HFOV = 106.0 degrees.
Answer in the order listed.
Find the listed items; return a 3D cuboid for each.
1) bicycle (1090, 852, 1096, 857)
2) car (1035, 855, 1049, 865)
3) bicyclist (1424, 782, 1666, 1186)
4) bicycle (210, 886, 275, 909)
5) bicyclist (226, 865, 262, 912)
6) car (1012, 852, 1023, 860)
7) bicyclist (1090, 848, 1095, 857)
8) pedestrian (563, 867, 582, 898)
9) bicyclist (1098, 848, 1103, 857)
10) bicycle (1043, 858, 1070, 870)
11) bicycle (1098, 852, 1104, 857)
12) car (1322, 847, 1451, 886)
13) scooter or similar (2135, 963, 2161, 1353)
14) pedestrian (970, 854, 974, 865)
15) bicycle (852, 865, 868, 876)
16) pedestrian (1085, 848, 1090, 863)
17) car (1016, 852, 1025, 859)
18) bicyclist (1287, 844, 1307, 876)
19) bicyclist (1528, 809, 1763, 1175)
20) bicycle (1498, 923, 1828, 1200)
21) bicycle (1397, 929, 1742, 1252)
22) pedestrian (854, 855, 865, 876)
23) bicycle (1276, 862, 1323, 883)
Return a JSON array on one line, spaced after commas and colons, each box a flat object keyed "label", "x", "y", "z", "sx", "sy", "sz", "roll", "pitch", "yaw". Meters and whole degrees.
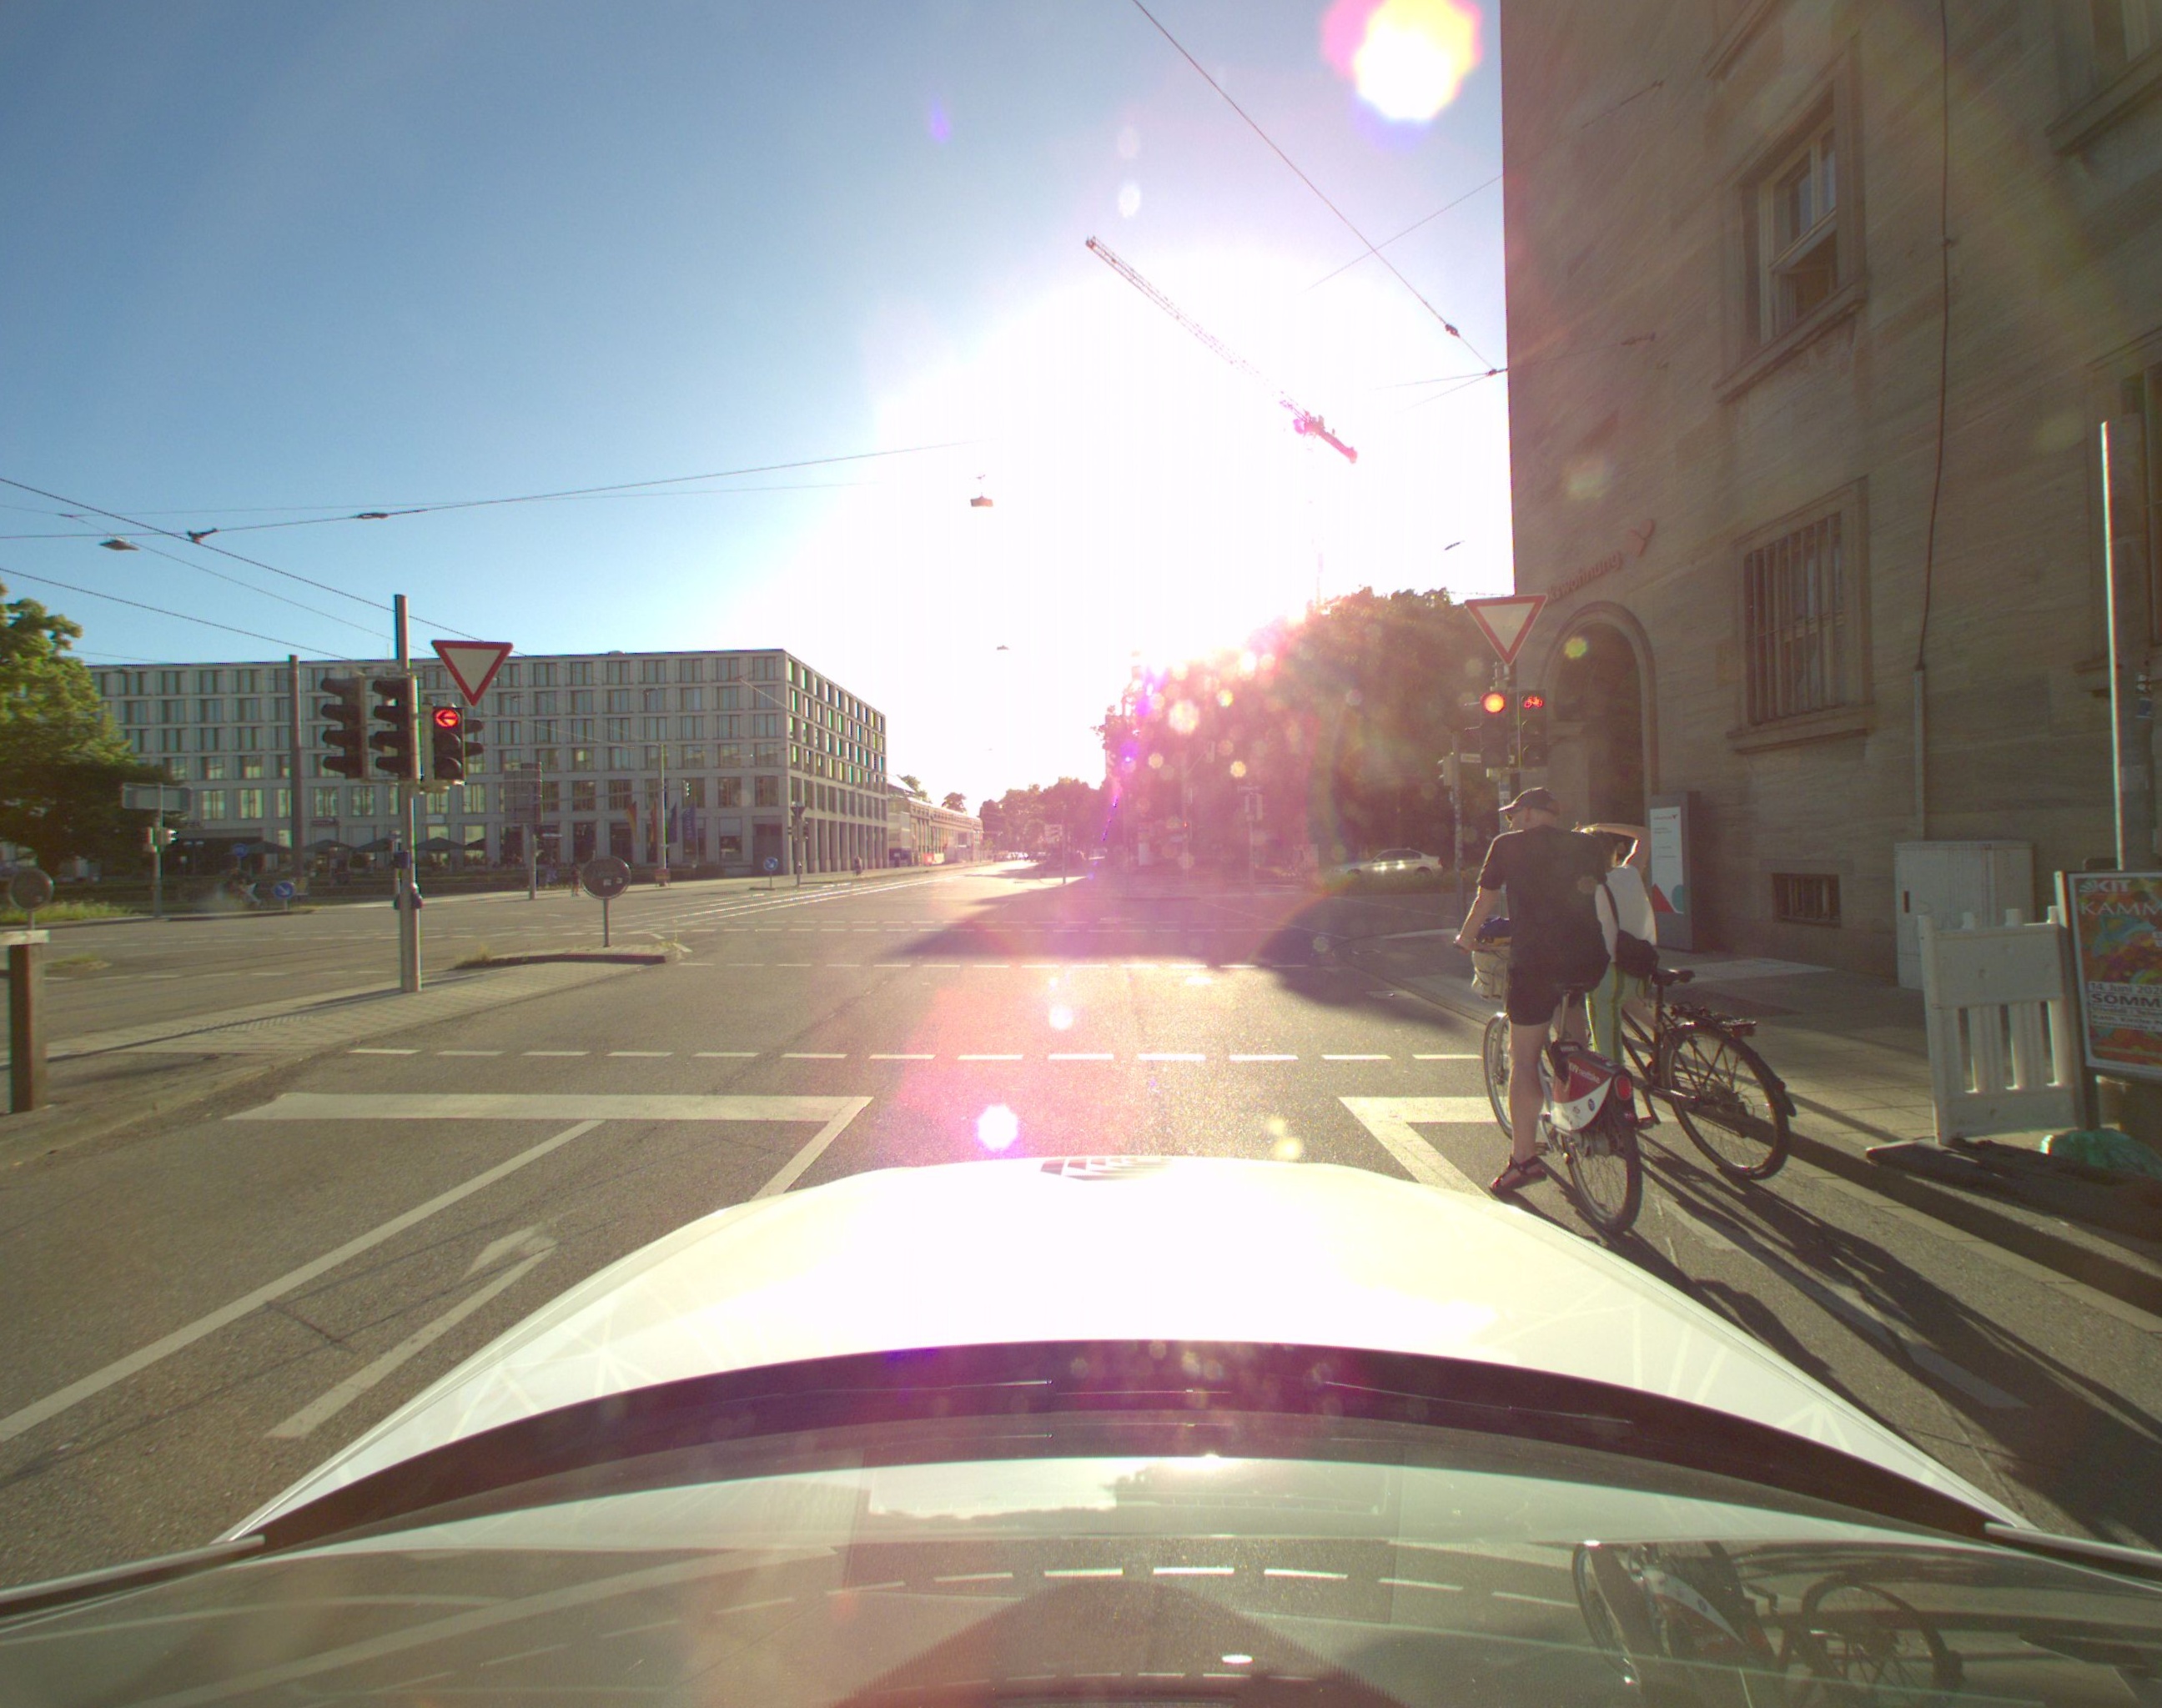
[{"label": "bicycle", "x": 2.538, "y": 0.136, "z": 176.763, "sx": 0.890, "sy": 1.219, "sz": 2.784, "roll": 0, "pitch": -1, "yaw": -9}, {"label": "car", "x": -6.394, "y": 1.004, "z": 134.959, "sx": 1.986, "sy": 1.640, "sz": 4.001, "roll": 0, "pitch": -1, "yaw": 2}, {"label": "bicyclist", "x": 2.185, "y": 0.558, "z": 3.955, "sx": 0.621, "sy": 1.715, "sz": 0.913, "roll": -2, "pitch": 0, "yaw": 1}, {"label": "bicycle", "x": -32.357, "y": 1.661, "z": 31.473, "sx": 0.532, "sy": 0.787, "sz": 1.853, "roll": -2, "pitch": 0, "yaw": 2}, {"label": "bicyclist", "x": -32.367, "y": 1.313, "z": 31.492, "sx": 0.532, "sy": 1.761, "sz": 0.771, "roll": -2, "pitch": 0, "yaw": 2}, {"label": "car", "x": -13.928, "y": 0.406, "z": 178.875, "sx": 1.988, "sy": 1.605, "sz": 3.998, "roll": -2, "pitch": 0, "yaw": -1}, {"label": "bicyclist", "x": 2.547, "y": -0.261, "z": 176.743, "sx": 0.891, "sy": 2.014, "sz": 0.746, "roll": 0, "pitch": -1, "yaw": -10}, {"label": "pedestrian", "x": -28.508, "y": 1.576, "z": 45.644, "sx": 0.600, "sy": 1.681, "sz": 0.608, "roll": -2, "pitch": 0, "yaw": 9}, {"label": "bicyclist", "x": 4.288, "y": -0.268, "z": 177.599, "sx": 0.891, "sy": 2.014, "sz": 0.746, "roll": 0, "pitch": -1, "yaw": -10}, {"label": "bicycle", "x": -2.043, "y": 0.805, "z": 67.437, "sx": 2.240, "sy": 0.940, "sz": 0.653, "roll": -2, "pitch": 0, "yaw": -4}, {"label": "bicycle", "x": 4.298, "y": 0.128, "z": 177.456, "sx": 0.890, "sy": 1.219, "sz": 2.784, "roll": 0, "pitch": -1, "yaw": -9}, {"label": "car", "x": 12.442, "y": 0.503, "z": 33.422, "sx": 4.559, "sy": 1.516, "sz": 2.001, "roll": 0, "pitch": -1, "yaw": 1}, {"label": "scooter or similar", "x": 3.248, "y": 0.918, "z": 1.830, "sx": 0.568, "sy": 1.149, "sz": 1.279, "roll": 0, "pitch": 0, "yaw": 26}, {"label": "pedestrian", "x": -18.754, "y": 1.014, "z": 140.618, "sx": 0.585, "sy": 1.889, "sz": 0.478, "roll": 0, "pitch": -1, "yaw": 2}, {"label": "bicycle", "x": -16.883, "y": 1.259, "z": 62.245, "sx": 0.568, "sy": 0.823, "sz": 1.722, "roll": -2, "pitch": 0, "yaw": 7}, {"label": "pedestrian", "x": 0.767, "y": 0.172, "z": 97.860, "sx": 0.576, "sy": 1.689, "sz": 0.584, "roll": -2, "pitch": 0, "yaw": -6}, {"label": "car", "x": -14.450, "y": 0.315, "z": 195.331, "sx": 1.988, "sy": 1.644, "sz": 3.998, "roll": -2, "pitch": 0, "yaw": -1}, {"label": "bicyclist", "x": 9.626, "y": 0.265, "z": 36.304, "sx": 0.742, "sy": 1.406, "sz": 0.704, "roll": -1, "pitch": -1, "yaw": 8}, {"label": "bicyclist", "x": 2.964, "y": 0.662, "z": 4.377, "sx": 0.581, "sy": 1.738, "sz": 0.951, "roll": -2, "pitch": 0, "yaw": 2}, {"label": "bicycle", "x": 2.974, "y": 0.977, "z": 4.411, "sx": 0.579, "sy": 1.044, "sz": 1.748, "roll": -2, "pitch": 0, "yaw": 3}, {"label": "bicycle", "x": 2.193, "y": 0.978, "z": 3.965, "sx": 0.621, "sy": 1.044, "sz": 1.747, "roll": -2, "pitch": 0, "yaw": 1}, {"label": "pedestrian", "x": -16.902, "y": 0.869, "z": 62.165, "sx": 0.568, "sy": 1.595, "sz": 0.746, "roll": -2, "pitch": 0, "yaw": 7}, {"label": "bicycle", "x": 9.719, "y": 0.828, "z": 36.291, "sx": 1.932, "sy": 0.889, "sz": 0.719, "roll": -1, "pitch": -1, "yaw": 8}]
